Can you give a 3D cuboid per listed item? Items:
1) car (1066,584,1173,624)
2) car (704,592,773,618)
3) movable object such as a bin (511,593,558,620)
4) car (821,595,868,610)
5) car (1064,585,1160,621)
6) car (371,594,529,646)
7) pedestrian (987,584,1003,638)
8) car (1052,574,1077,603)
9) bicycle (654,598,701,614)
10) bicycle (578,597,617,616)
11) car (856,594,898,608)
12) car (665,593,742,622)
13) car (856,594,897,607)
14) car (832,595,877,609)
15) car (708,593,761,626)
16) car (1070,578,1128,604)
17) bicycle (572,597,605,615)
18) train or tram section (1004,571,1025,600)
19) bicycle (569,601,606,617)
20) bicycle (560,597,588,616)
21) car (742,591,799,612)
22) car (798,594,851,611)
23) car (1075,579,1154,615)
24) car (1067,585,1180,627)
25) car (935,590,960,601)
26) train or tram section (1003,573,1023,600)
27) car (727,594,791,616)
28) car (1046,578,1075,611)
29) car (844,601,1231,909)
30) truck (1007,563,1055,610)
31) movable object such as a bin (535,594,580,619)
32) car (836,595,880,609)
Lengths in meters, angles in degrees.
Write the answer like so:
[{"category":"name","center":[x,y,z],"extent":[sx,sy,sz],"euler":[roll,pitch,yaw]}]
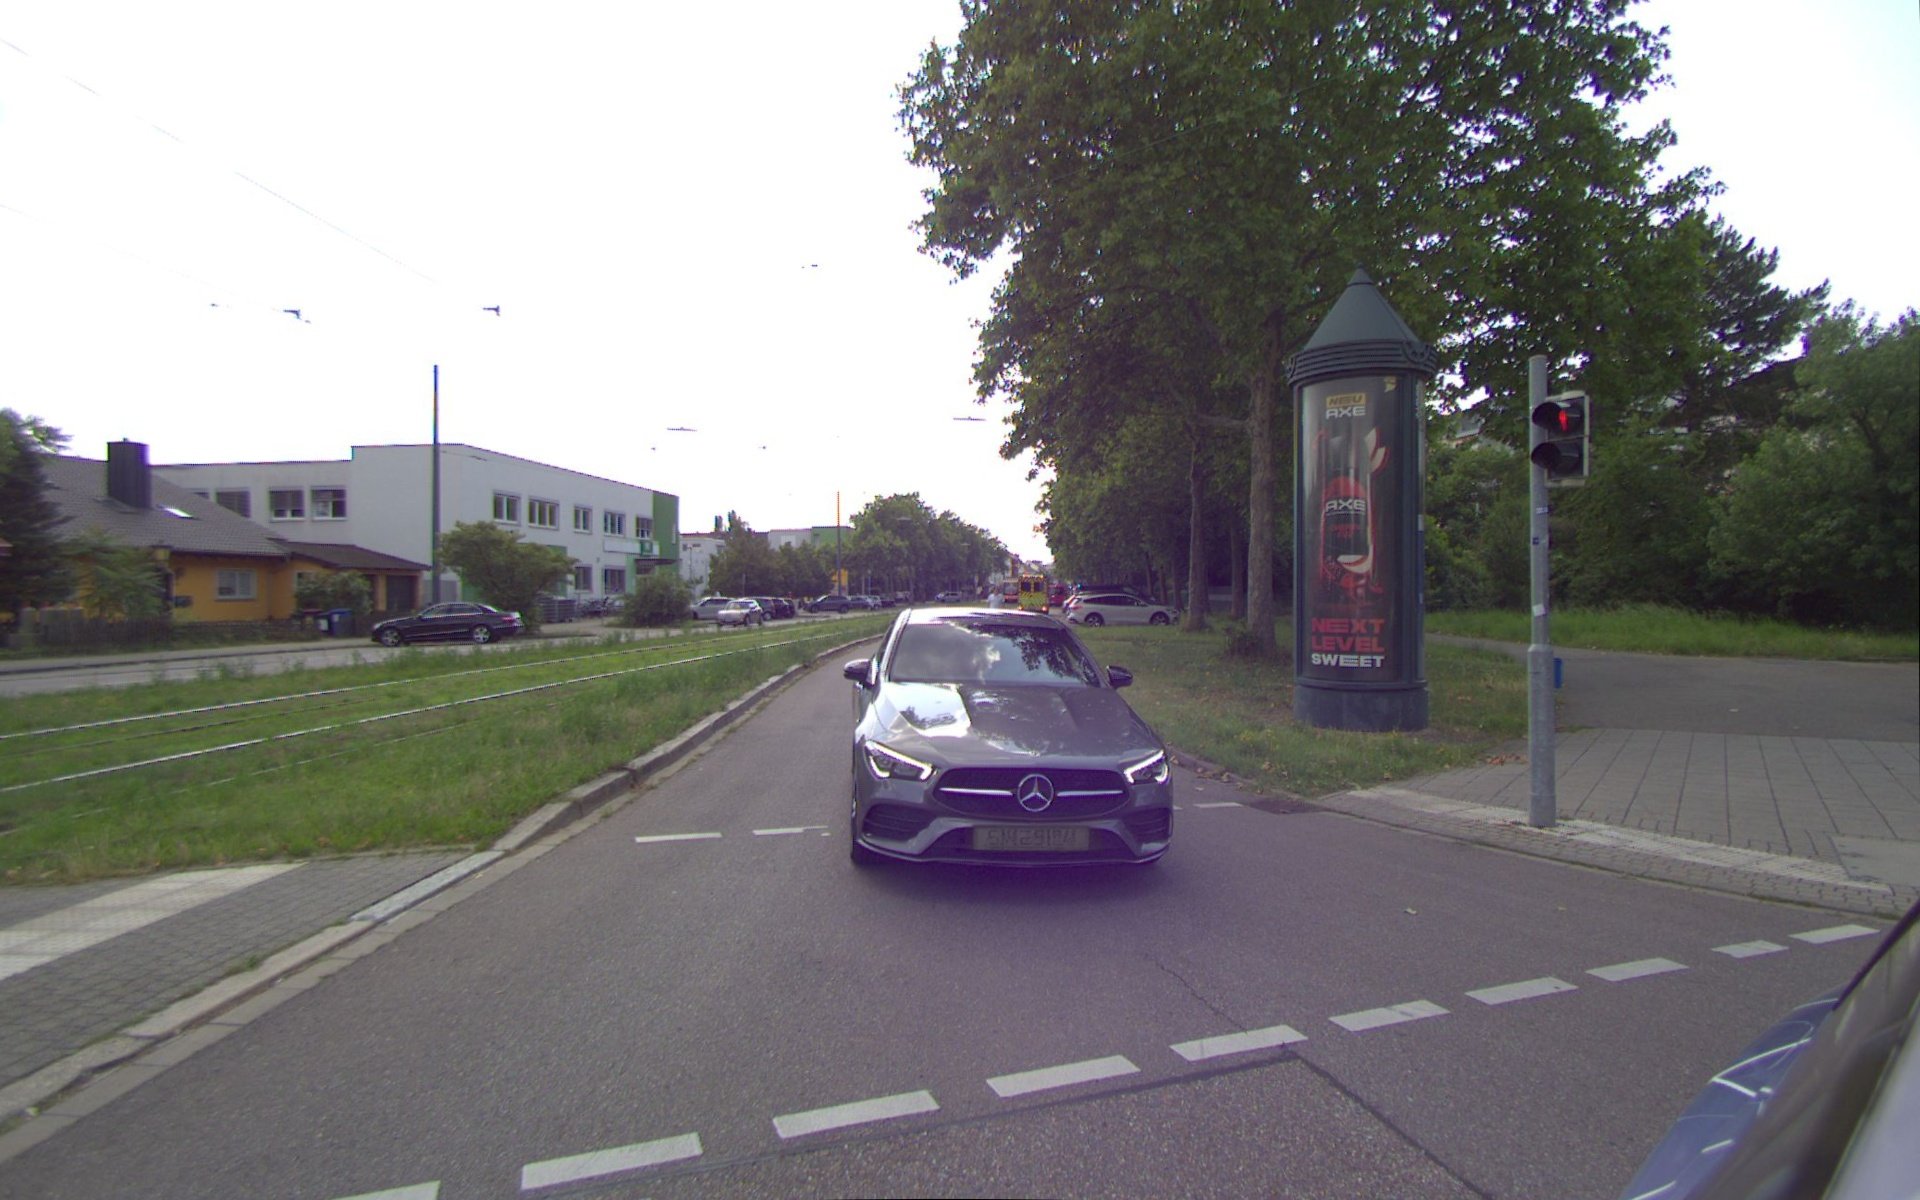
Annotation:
[{"category":"car","center":[6.911,0.190,44.229],"extent":[4.463,1.665,1.997],"euler":[-1,-1,6]},{"category":"car","center":[-14.667,0.312,67.062],"extent":[4.224,1.650,1.906],"euler":[0,0,-21]},{"category":"movable object such as a bin","center":[-22.215,0.343,52.859],"extent":[1.355,1.343,2.110],"euler":[-1,0,11]},{"category":"car","center":[-11.133,0.185,97.702],"extent":[4.224,1.381,1.906],"euler":[-1,0,-15]},{"category":"car","center":[7.366,0.170,49.385],"extent":[4.463,1.665,1.997],"euler":[-1,-1,6]},{"category":"car","center":[-17.523,0.658,34.981],"extent":[4.484,1.600,2.004],"euler":[-2,1,-13]},{"category":"pedestrian","center":[1.120,0.356,32.532],"extent":[0.485,1.705,0.587],"euler":[0,-1,3]},{"category":"car","center":[12.600,-1.323,122.315],"extent":[2.923,3.372,7.447],"euler":[1,0,5]},{"category":"bicycle","center":[-20.396,0.429,73.065],"extent":[3.087,1.180,1.141],"euler":[-1,0,4]},{"category":"bicycle","center":[-23.117,0.385,64.542],"extent":[2.316,1.180,0.757],"euler":[0,0,13]},{"category":"car","center":[-8.820,0.071,107.315],"extent":[4.224,1.381,1.906],"euler":[-1,0,-15]},{"category":"car","center":[-15.454,0.405,61.055],"extent":[4.226,1.650,1.905],"euler":[-1,0,-26]},{"category":"car","center":[-9.206,0.050,111.997],"extent":[4.224,1.381,1.906],"euler":[-1,0,-15]},{"category":"car","center":[-10.509,0.191,100.961],"extent":[4.224,1.381,1.906],"euler":[-1,0,-15]},{"category":"car","center":[-11.829,0.452,53.386],"extent":[1.866,1.650,4.315],"euler":[0,0,-1]},{"category":"car","center":[18.551,-1.194,135.201],"extent":[7.322,3.372,2.973],"euler":[1,0,3]},{"category":"bicycle","center":[-22.395,0.348,61.000],"extent":[1.765,1.095,0.735],"euler":[-1,0,5]},{"category":"train or tram section","center":[7.197,-1.892,133.746],"extent":[2.449,3.641,7.419],"euler":[0,1,1]},{"category":"bicycle","center":[-23.453,0.580,63.671],"extent":[2.125,0.982,0.728],"euler":[0,0,12]},{"category":"bicycle","center":[-23.707,0.406,62.161],"extent":[1.603,1.180,0.700],"euler":[0,0,24]},{"category":"car","center":[-14.265,0.126,76.252],"extent":[4.082,1.523,1.864],"euler":[0,0,-15]},{"category":"car","center":[-11.705,0.189,87.420],"extent":[4.224,1.381,1.906],"euler":[-1,0,-16]},{"category":"car","center":[8.982,-0.183,59.006],"extent":[4.480,2.039,1.995],"euler":[-1,0,8]},{"category":"car","center":[6.659,0.253,41.659],"extent":[4.463,1.665,1.997],"euler":[-1,-1,6]},{"category":"car","center":[-2.116,-0.815,175.382],"extent":[3.916,1.861,1.825],"euler":[1,0,-24]},{"category":"train or tram section","center":[7.368,-1.908,141.140],"extent":[2.449,3.641,7.419],"euler":[0,1,1]},{"category":"car","center":[-13.919,0.344,70.082],"extent":[4.082,1.523,1.864],"euler":[0,0,-20]},{"category":"car","center":[10.877,-0.565,109.665],"extent":[2.923,3.359,7.447],"euler":[1,0,5]},{"category":"car","center":[0.129,0.747,7.113],"extent":[1.803,1.411,4.612],"euler":[1,0,-7]},{"category":"truck","center":[5.475,-0.993,77.232],"extent":[3.140,3.359,7.506],"euler":[-1,0,8]},{"category":"movable object such as a bin","center":[-21.887,0.346,55.019],"extent":[1.355,1.343,2.125],"euler":[-1,0,11]},{"category":"car","center":[-10.422,0.188,103.557],"extent":[4.224,1.381,1.906],"euler":[-1,0,-15]}]
